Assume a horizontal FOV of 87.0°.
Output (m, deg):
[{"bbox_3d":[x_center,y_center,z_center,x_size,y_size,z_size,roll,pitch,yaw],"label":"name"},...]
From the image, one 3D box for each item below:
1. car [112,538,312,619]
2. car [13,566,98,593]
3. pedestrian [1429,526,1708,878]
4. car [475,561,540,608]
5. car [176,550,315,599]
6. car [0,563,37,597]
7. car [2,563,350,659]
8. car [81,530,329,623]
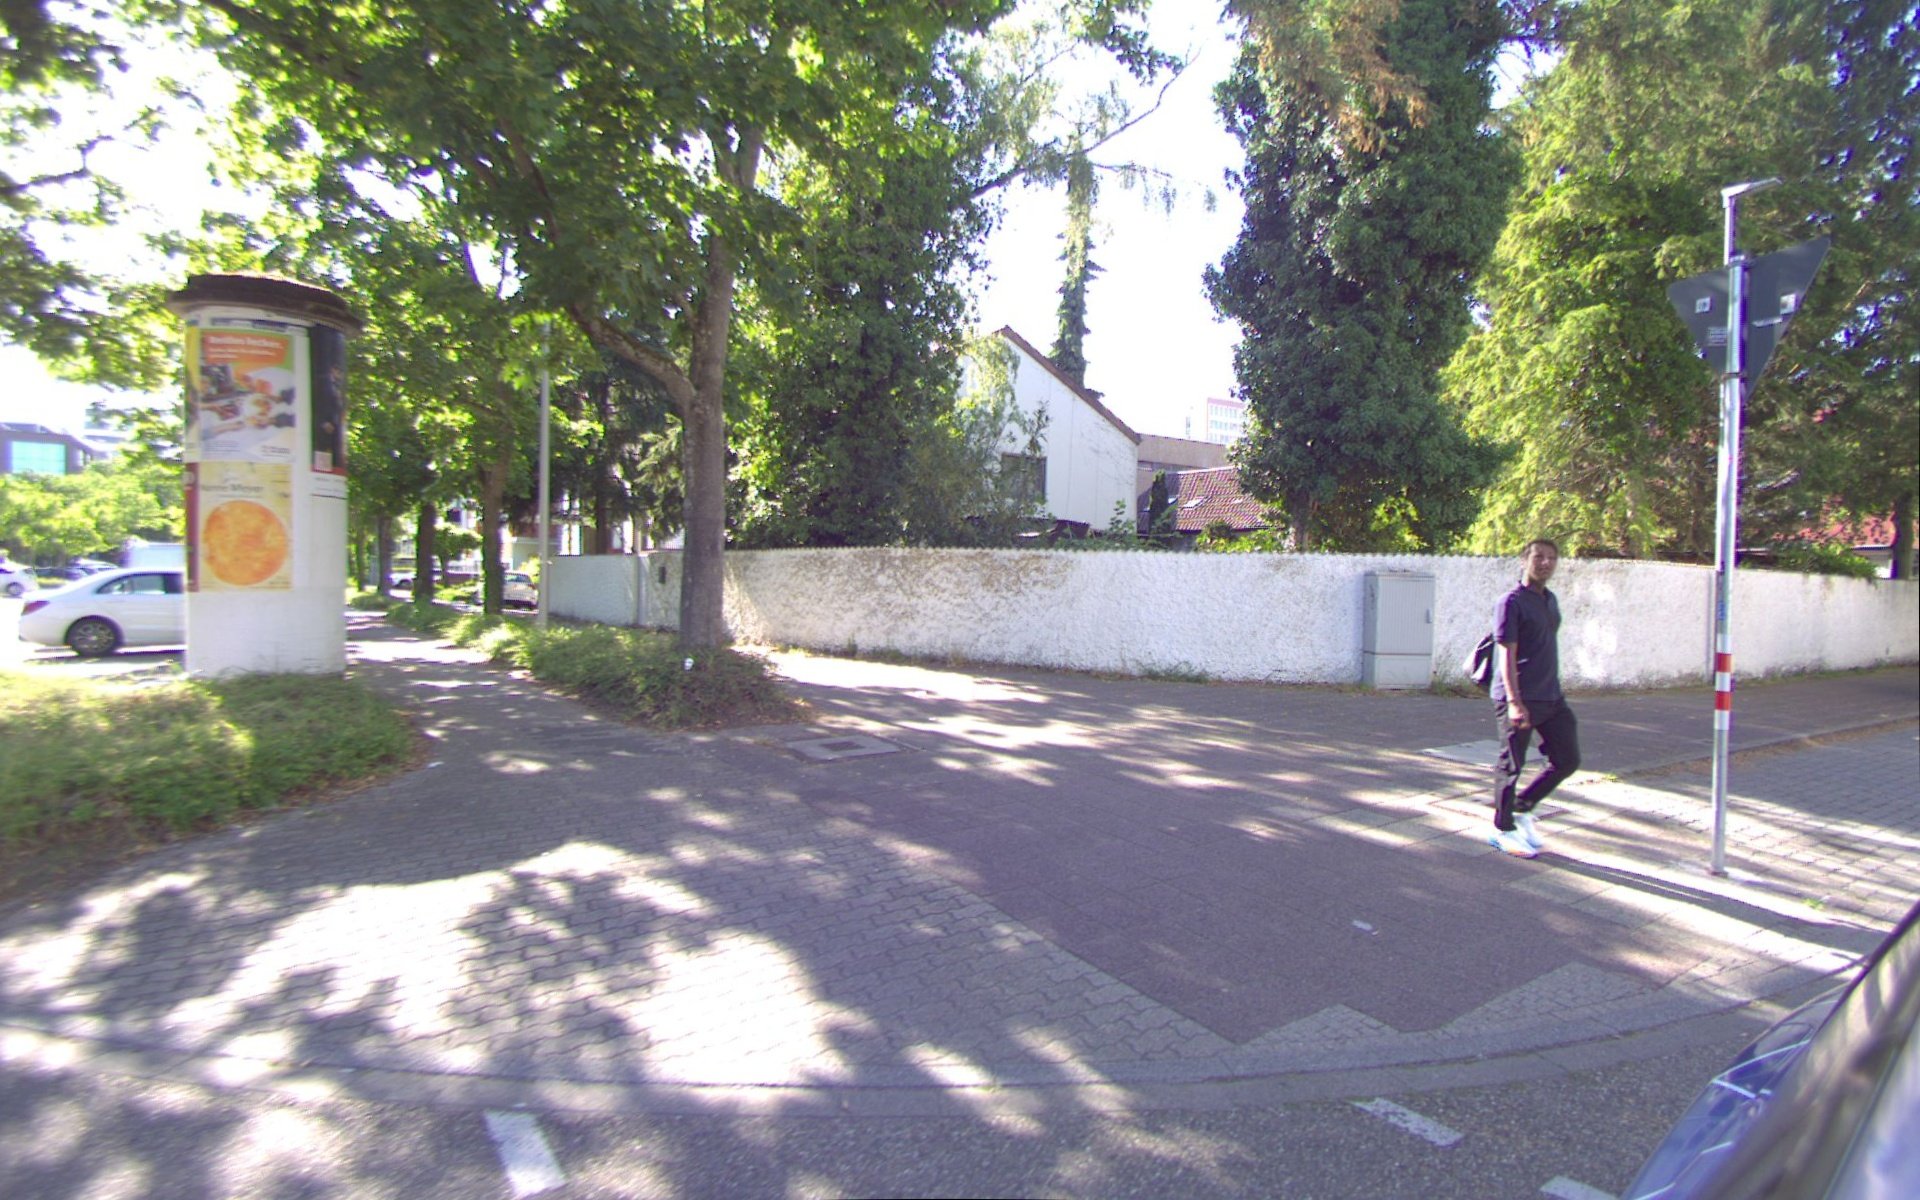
[{"bbox_3d":[-23.946,-0.649,32.644,5.038,2.408,2.000,0,0,-36],"label":"car"},{"bbox_3d":[-63.180,-1.417,70.789,4.180,1.737,1.974,2,1,-37],"label":"car"},{"bbox_3d":[3.240,0.491,5.451,0.821,1.704,0.810,2,5,-22],"label":"pedestrian"},{"bbox_3d":[-17.532,-0.627,39.072,1.799,1.634,4.149,2,1,-31],"label":"car"},{"bbox_3d":[-28.756,-0.975,40.861,4.479,1.853,2.000,0,0,-36],"label":"car"},{"bbox_3d":[-52.432,-1.115,54.182,4.180,1.737,1.974,2,1,-37],"label":"car"},{"bbox_3d":[-13.448,0.093,17.781,4.598,1.423,1.830,-2,3,-34],"label":"car"},{"bbox_3d":[-17.780,-0.517,24.099,4.548,2.016,2.000,0,0,-36],"label":"car"}]
